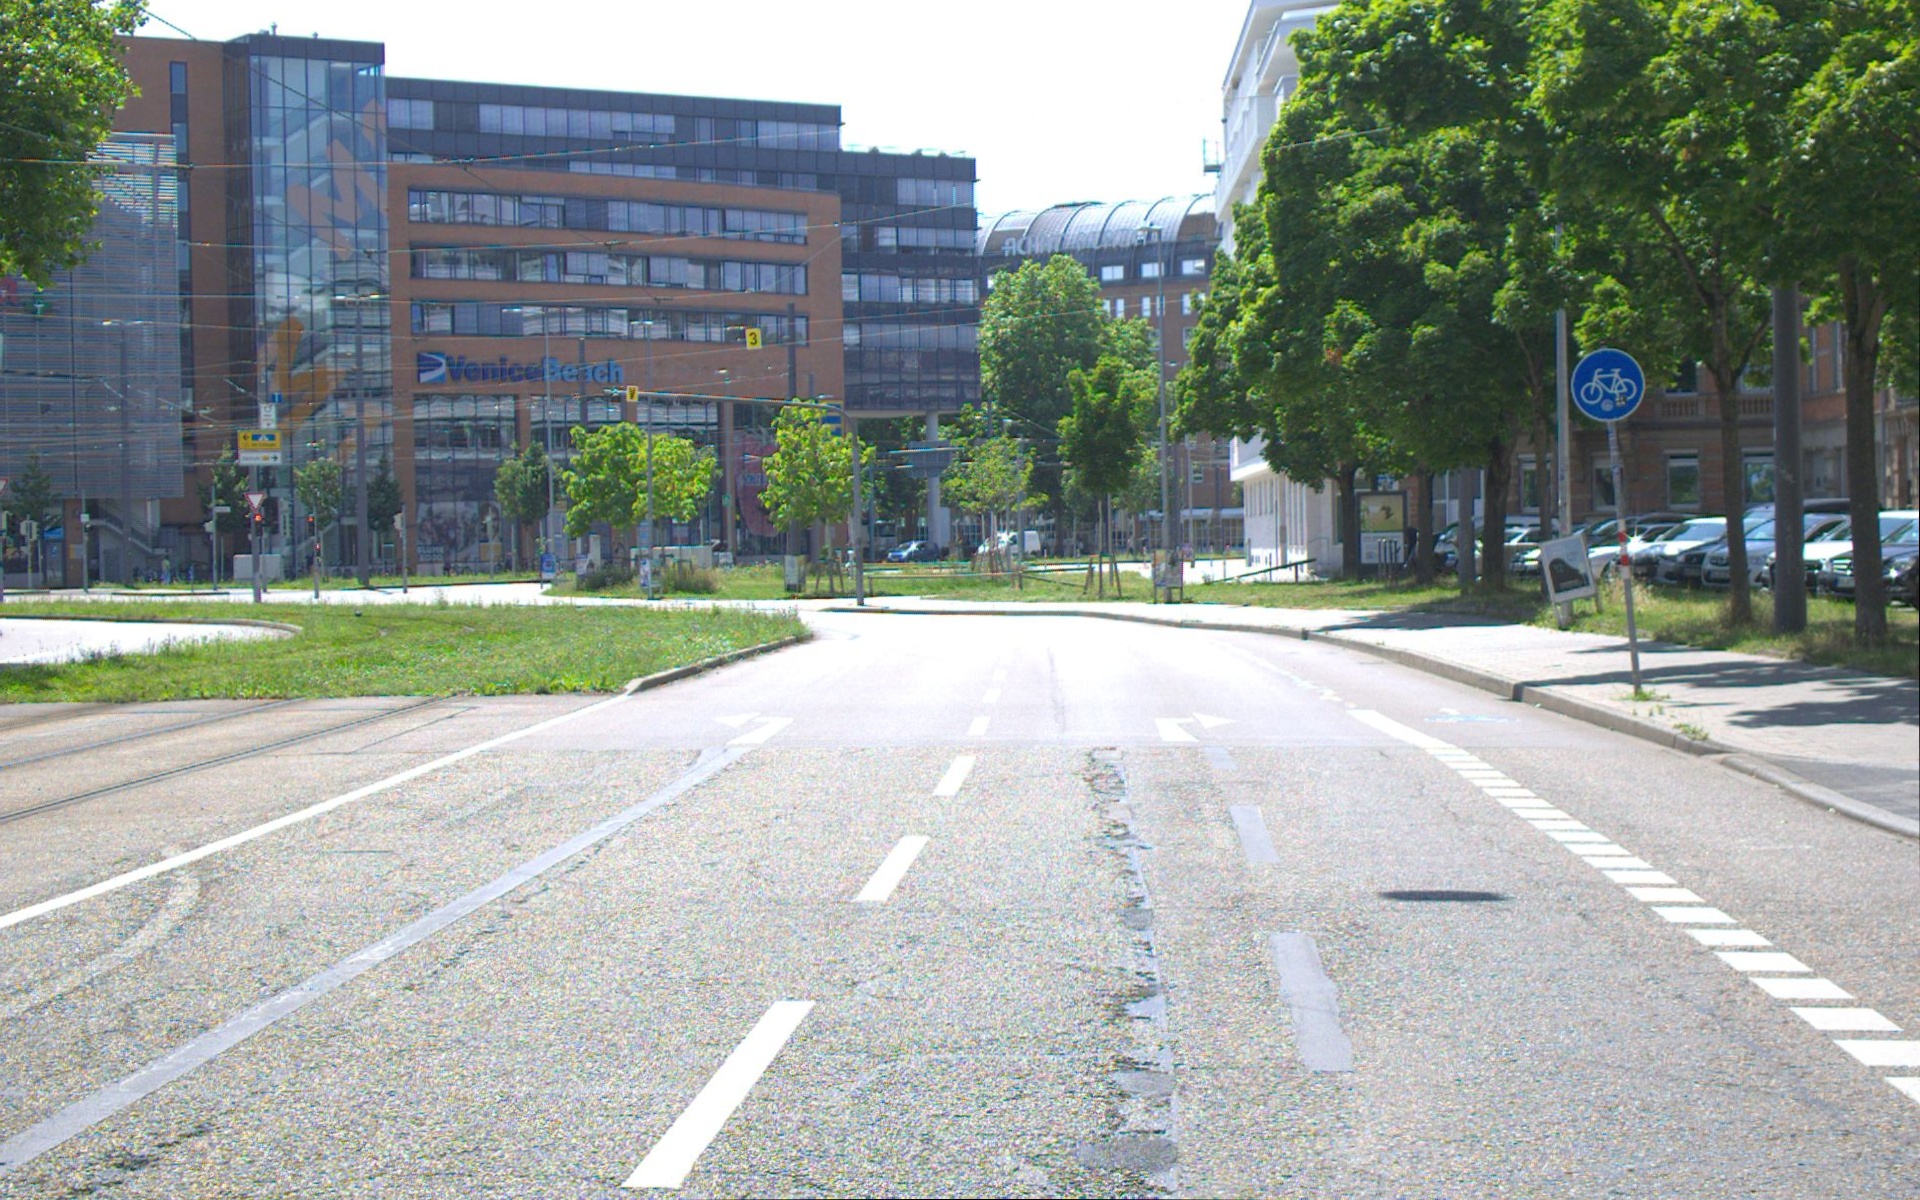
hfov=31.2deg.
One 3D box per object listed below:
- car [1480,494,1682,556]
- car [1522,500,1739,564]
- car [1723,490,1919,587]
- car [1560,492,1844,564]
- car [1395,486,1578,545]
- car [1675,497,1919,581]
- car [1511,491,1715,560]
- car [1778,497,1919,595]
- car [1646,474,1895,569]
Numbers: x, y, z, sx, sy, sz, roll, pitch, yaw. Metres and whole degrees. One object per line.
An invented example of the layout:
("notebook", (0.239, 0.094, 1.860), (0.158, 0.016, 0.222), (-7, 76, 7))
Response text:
("car", (13.987, -1.684, 77.362), (4.333, 1.371, 1.583), (-1, 1, -24))
("car", (13.985, -1.421, 71.770), (3.986, 1.309, 1.973), (0, 1, -20))
("car", (13.994, -0.946, 52.388), (4.678, 1.422, 1.972), (-1, 2, -35))
("car", (13.835, -1.345, 64.125), (4.771, 1.309, 2.150), (0, 1, -20))
("car", (14.686, -2.351, 95.820), (4.858, 1.595, 1.836), (-1, 1, -25))
("car", (14.338, -1.058, 58.849), (3.987, 1.395, 1.712), (-1, 2, -30))
("car", (14.189, -1.615, 74.646), (4.078, 1.464, 1.798), (-1, 1, -26))
("car", (13.983, -0.787, 48.922), (4.417, 1.334, 1.972), (-1, 2, -30))
("car", (14.602, -1.418, 61.943), (3.986, 1.656, 1.973), (-1, 1, -24))
